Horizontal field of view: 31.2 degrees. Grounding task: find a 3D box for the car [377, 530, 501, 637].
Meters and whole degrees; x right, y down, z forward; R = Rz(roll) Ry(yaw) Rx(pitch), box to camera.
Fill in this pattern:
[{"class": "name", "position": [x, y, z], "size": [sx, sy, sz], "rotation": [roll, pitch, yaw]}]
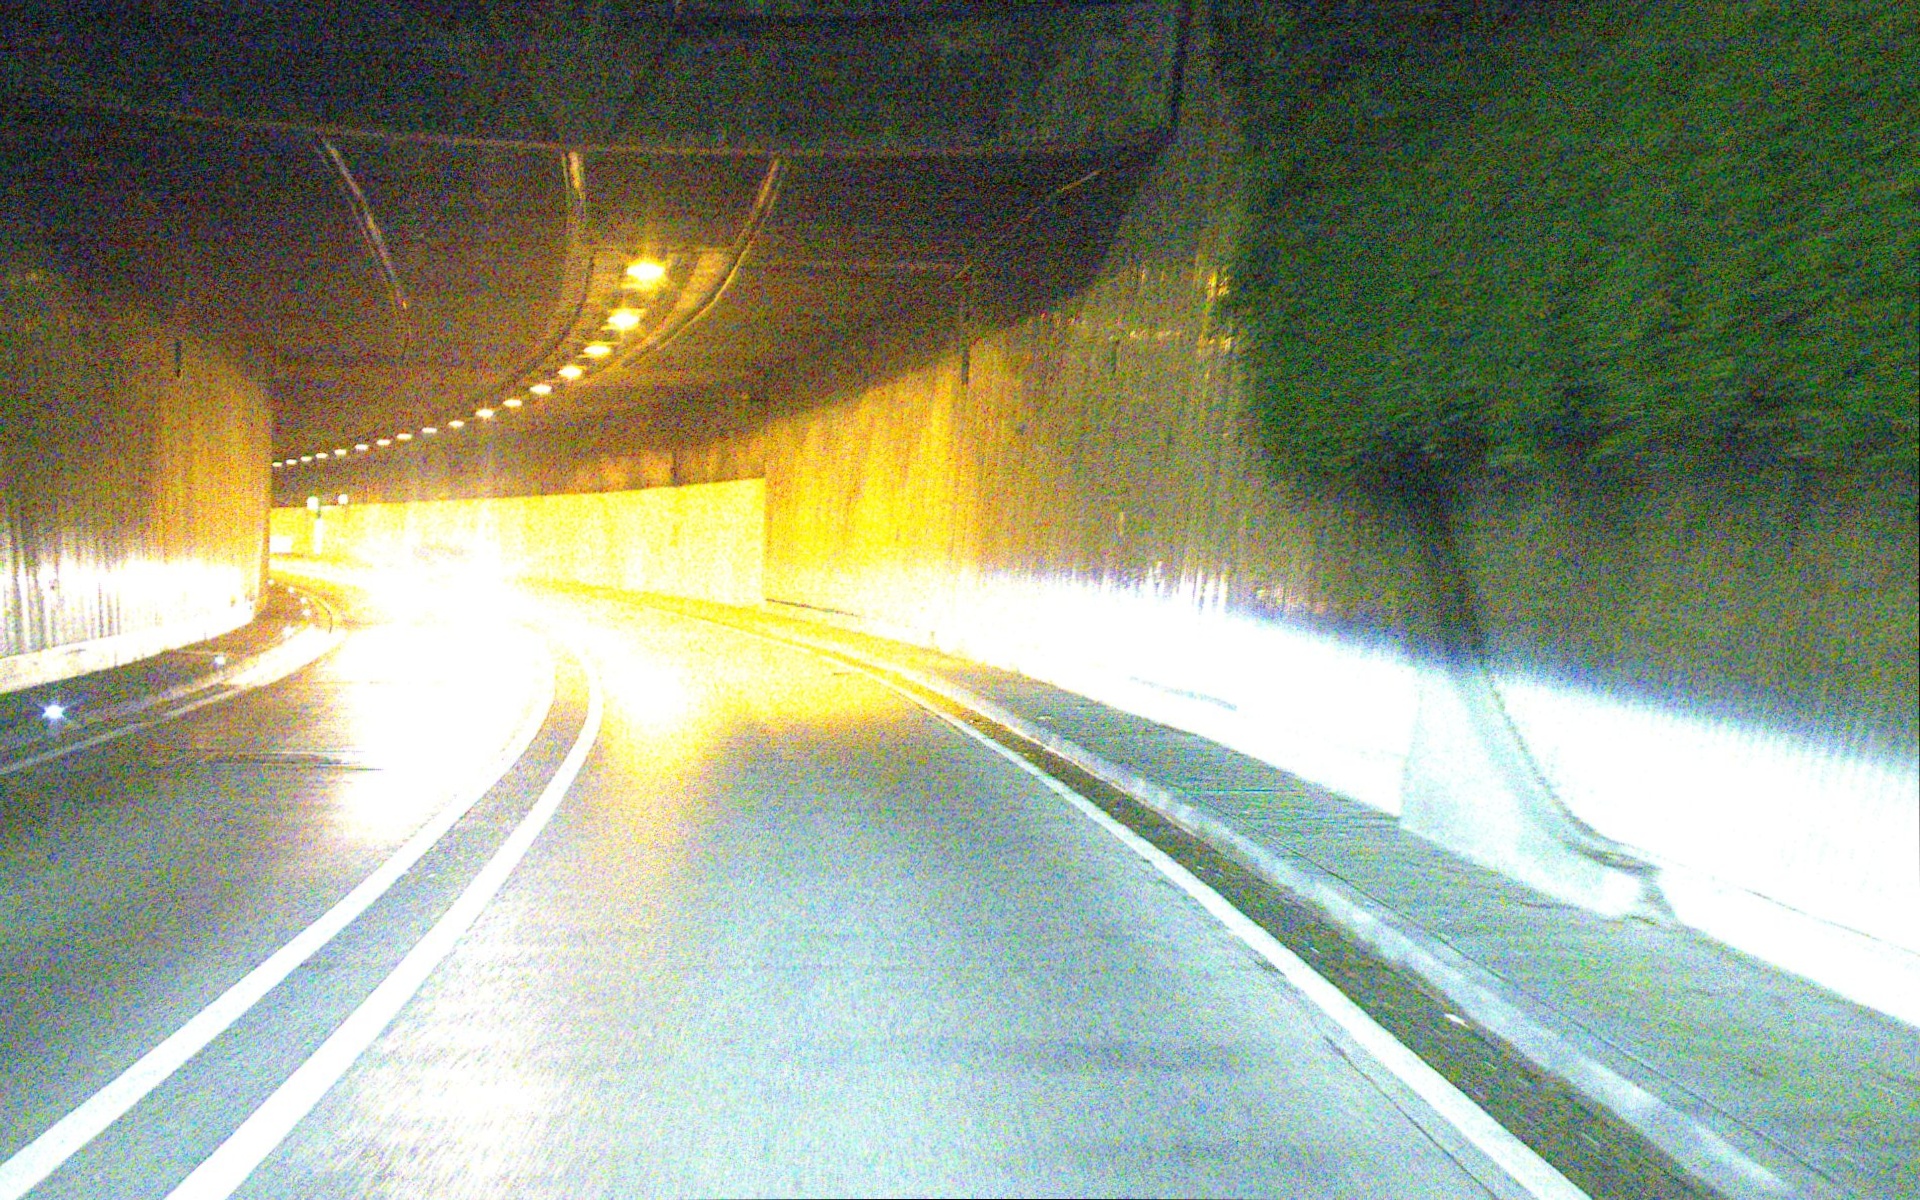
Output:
[{"class": "car", "position": [-9.638, -0.325, 63.353], "size": [1.993, 1.734, 4.001], "rotation": [5, 0, -10]}]
